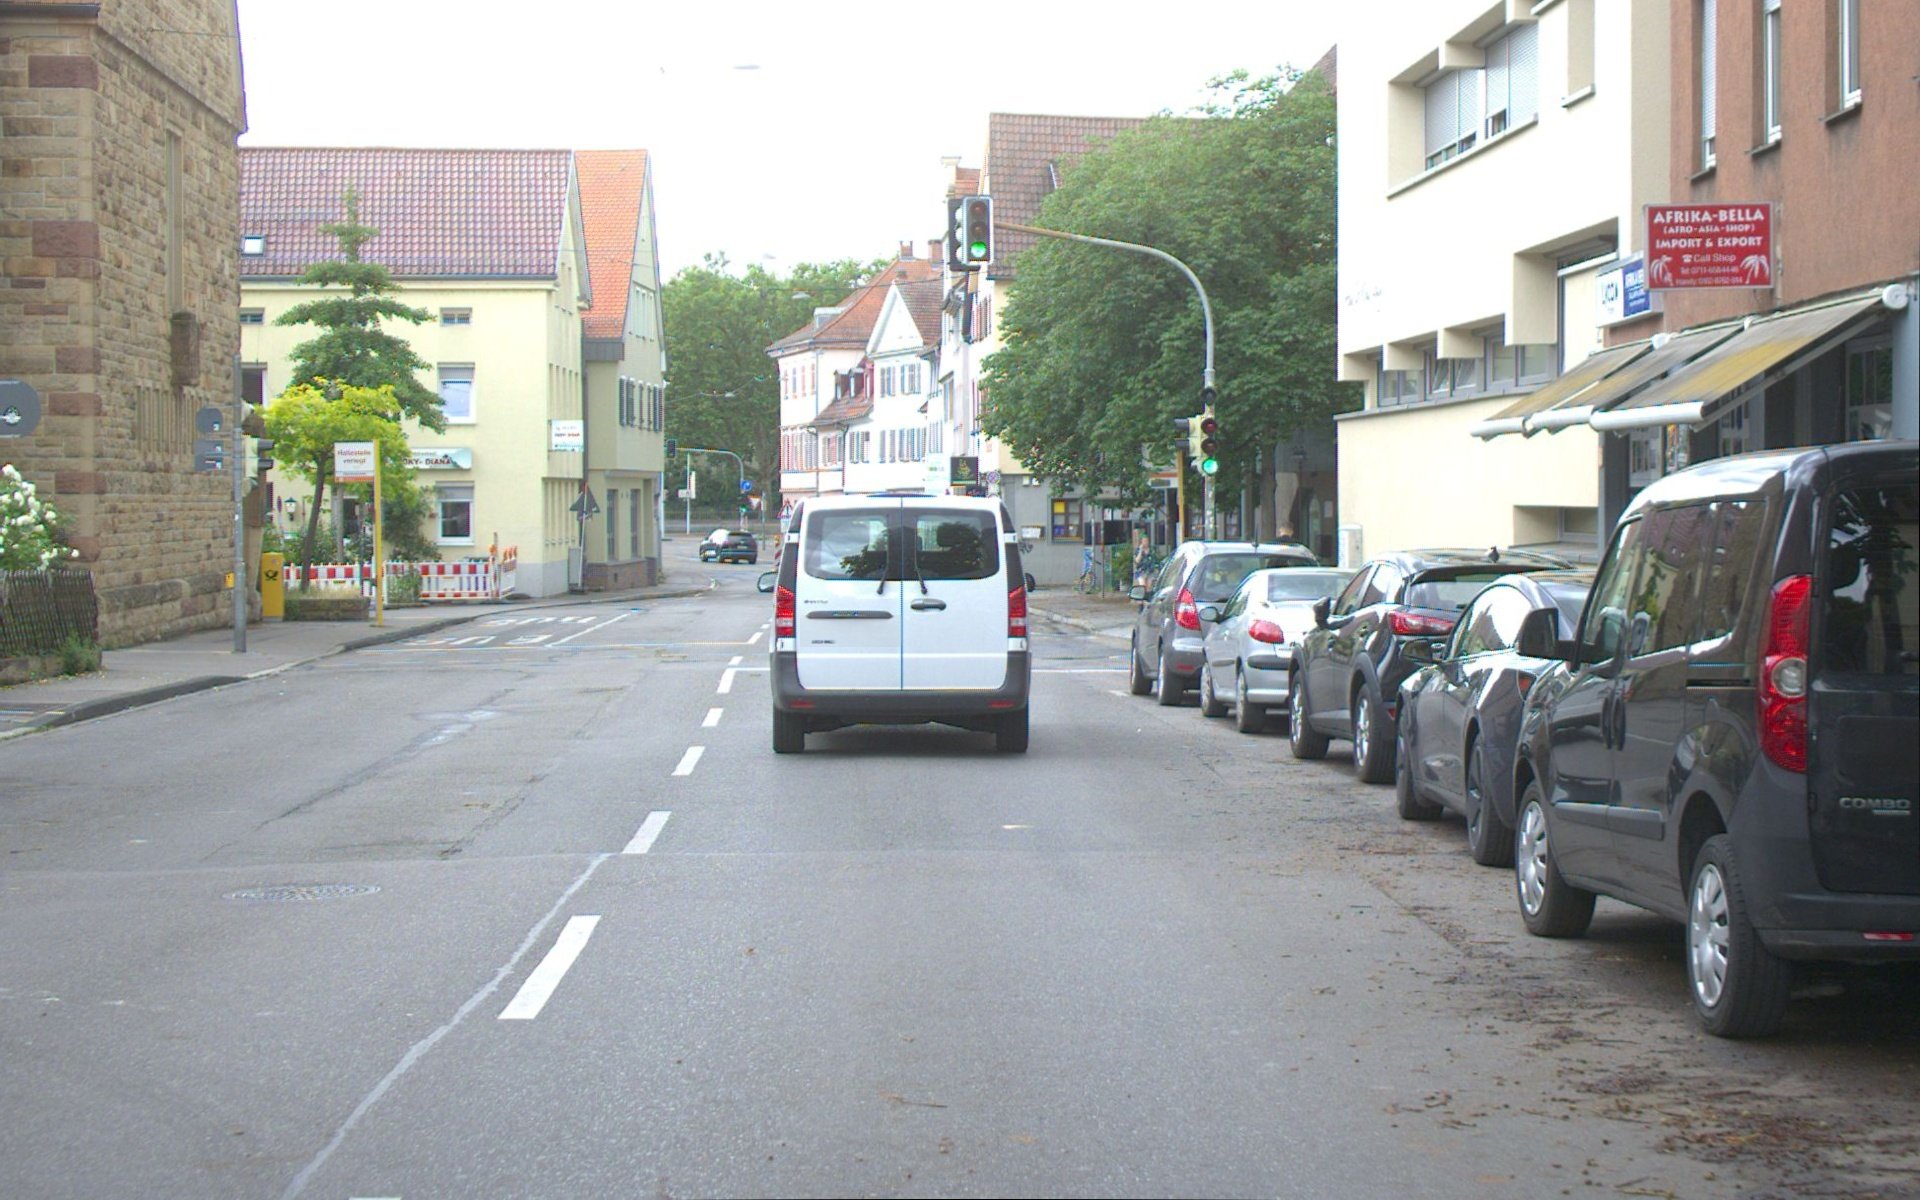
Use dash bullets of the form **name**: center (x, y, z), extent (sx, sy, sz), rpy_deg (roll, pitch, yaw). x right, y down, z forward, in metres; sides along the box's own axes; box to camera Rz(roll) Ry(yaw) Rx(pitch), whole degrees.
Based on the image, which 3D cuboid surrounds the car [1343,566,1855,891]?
- **car**: center (3.153, 0.561, 17.855), extent (1.751, 1.401, 4.511), rpy_deg (-1, 1, -1)

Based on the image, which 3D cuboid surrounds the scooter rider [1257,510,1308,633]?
- **scooter rider**: center (4.354, -0.378, 46.401), extent (0.452, 1.626, 0.505), rpy_deg (-3, 0, -16)

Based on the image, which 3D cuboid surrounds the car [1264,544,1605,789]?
- **car**: center (3.206, 0.386, 23.951), extent (1.601, 1.513, 4.210), rpy_deg (-1, 1, -2)

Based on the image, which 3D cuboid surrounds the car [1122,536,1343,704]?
- **car**: center (2.635, 0.150, 33.994), extent (1.711, 1.555, 3.786), rpy_deg (0, 1, -3)

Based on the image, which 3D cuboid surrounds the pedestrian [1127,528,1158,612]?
- **pedestrian**: center (3.748, -0.624, 70.539), extent (0.602, 1.710, 0.859), rpy_deg (0, 1, 5)

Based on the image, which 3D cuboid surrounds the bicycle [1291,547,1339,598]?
- **bicycle**: center (7.649, -0.594, 74.244), extent (0.544, 1.066, 2.292), rpy_deg (-1, 1, -6)

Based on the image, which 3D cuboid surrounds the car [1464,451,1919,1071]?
- **car**: center (3.118, 0.423, 12.082), extent (1.819, 1.775, 4.404), rpy_deg (0, 1, -3)

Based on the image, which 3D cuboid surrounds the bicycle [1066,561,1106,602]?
- **bicycle**: center (3.497, -0.510, 95.510), extent (0.499, 1.102, 1.639), rpy_deg (-1, 1, -22)

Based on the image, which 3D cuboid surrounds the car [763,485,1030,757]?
- **car**: center (-0.468, 0.120, 26.083), extent (1.872, 1.905, 4.000), rpy_deg (0, 1, -1)

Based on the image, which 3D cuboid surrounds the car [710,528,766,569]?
- **car**: center (-11.292, -2.625, 174.695), extent (1.934, 2.007, 4.001), rpy_deg (1, 1, -17)

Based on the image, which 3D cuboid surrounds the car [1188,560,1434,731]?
- **car**: center (2.933, 0.347, 29.425), extent (1.551, 1.328, 3.813), rpy_deg (0, 1, -3)
